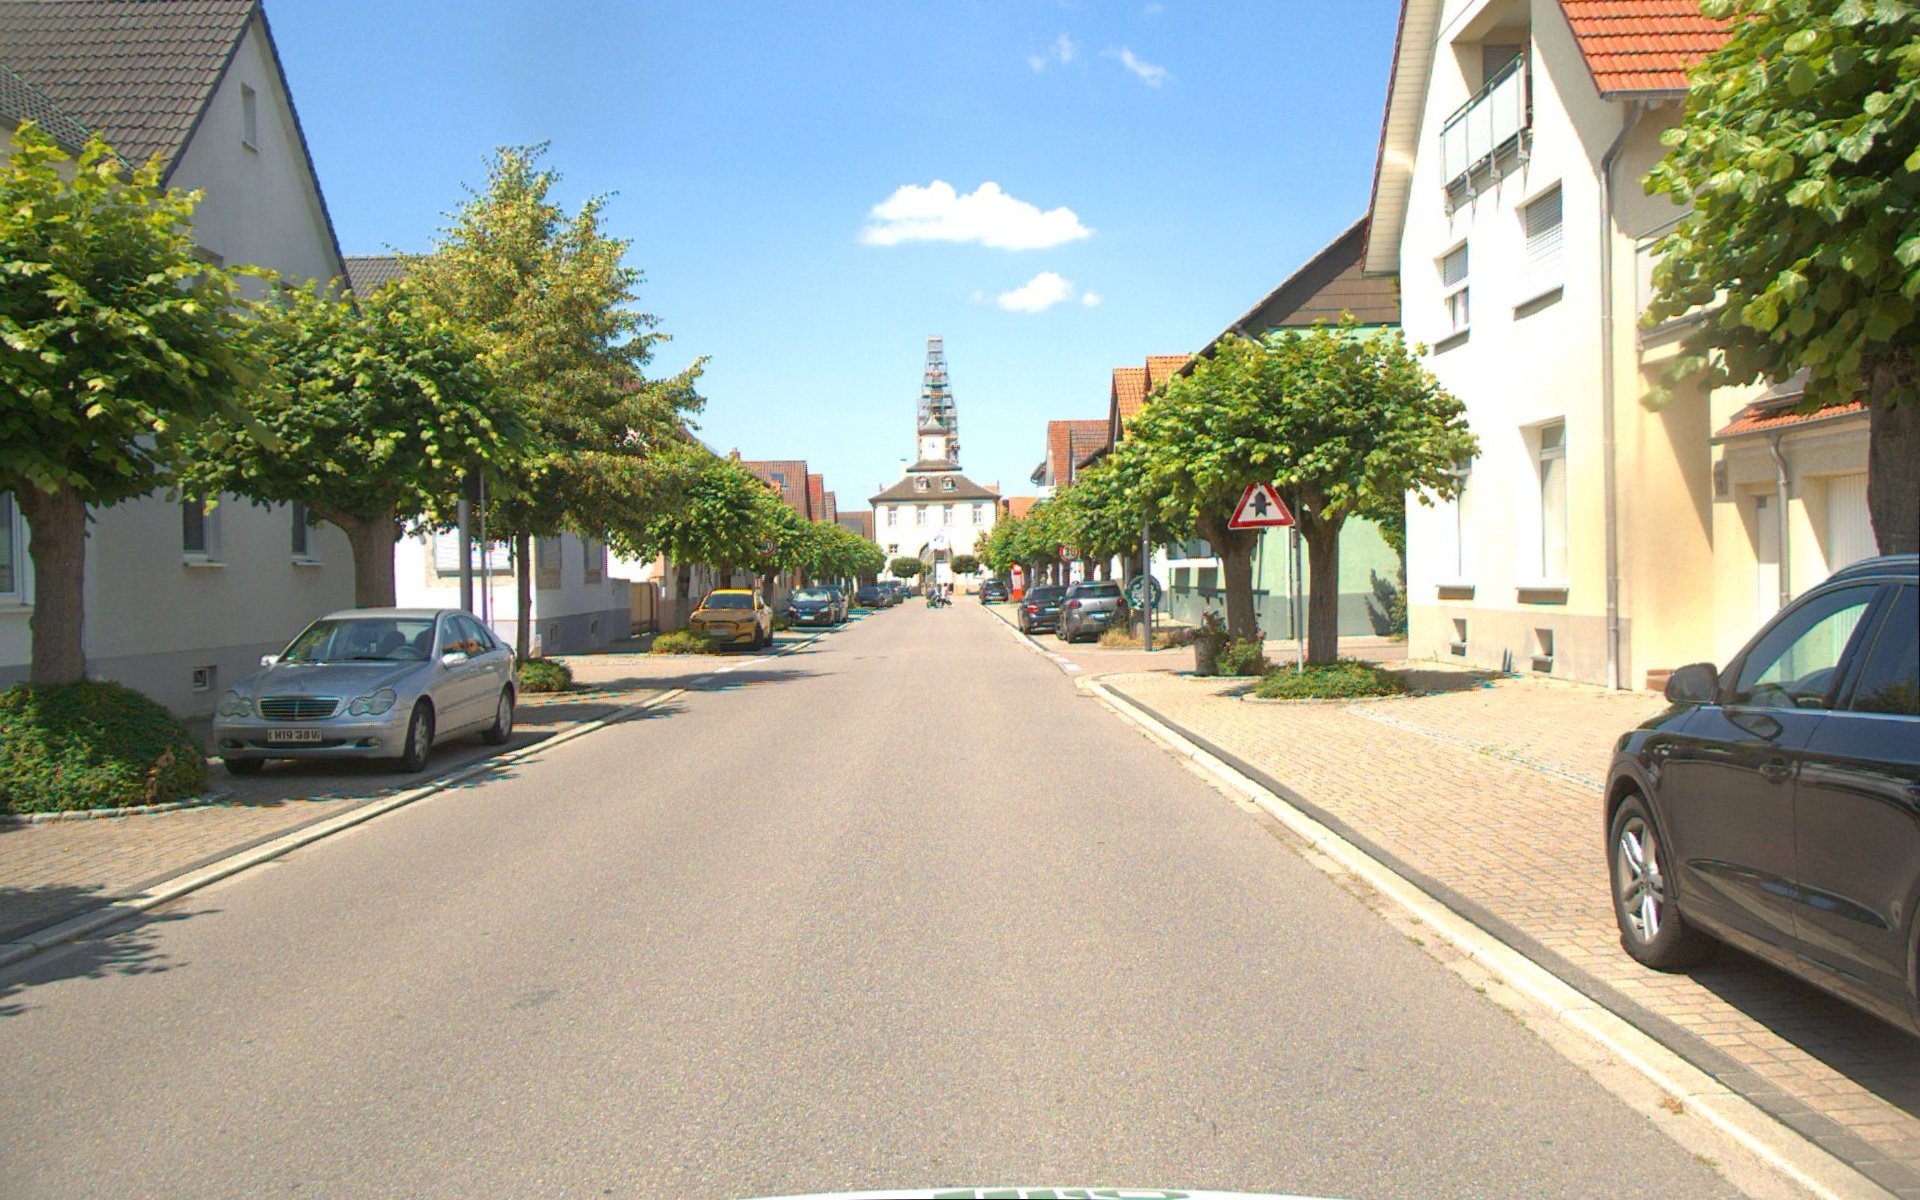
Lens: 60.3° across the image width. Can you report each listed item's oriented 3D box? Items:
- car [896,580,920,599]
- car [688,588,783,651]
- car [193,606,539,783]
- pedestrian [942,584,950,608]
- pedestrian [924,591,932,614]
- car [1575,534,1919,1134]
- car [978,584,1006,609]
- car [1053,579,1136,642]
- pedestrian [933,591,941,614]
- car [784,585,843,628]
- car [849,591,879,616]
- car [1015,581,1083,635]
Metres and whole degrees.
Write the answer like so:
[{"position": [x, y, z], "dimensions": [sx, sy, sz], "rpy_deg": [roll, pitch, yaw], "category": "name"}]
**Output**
[{"position": [-4.777, -0.940, 152.227], "dimensions": [1.954, 1.639, 4.501], "rpy_deg": [0, 0, -5], "category": "car"}, {"position": [-6.120, 0.493, 45.638], "dimensions": [1.952, 1.639, 4.689], "rpy_deg": [0, 0, 0], "category": "car"}, {"position": [-5.491, 0.791, 15.948], "dimensions": [1.803, 1.420, 4.405], "rpy_deg": [-1, 0, -1], "category": "car"}, {"position": [-0.877, -0.245, 101.342], "dimensions": [0.352, 1.427, 0.319], "rpy_deg": [-1, 0, 37], "category": "pedestrian"}, {"position": [-1.983, 0.138, 102.058], "dimensions": [0.352, 1.427, 0.319], "rpy_deg": [-1, 0, 37], "category": "pedestrian"}, {"position": [3.486, 0.581, 5.119], "dimensions": [1.786, 1.613, 4.059], "rpy_deg": [-3, 1, 3], "category": "car"}, {"position": [2.227, -0.246, 116.103], "dimensions": [1.800, 1.582, 4.313], "rpy_deg": [-3, 0, 0], "category": "car"}, {"position": [3.642, 0.265, 45.394], "dimensions": [1.800, 1.636, 3.999], "rpy_deg": [-1, 0, -2], "category": "car"}, {"position": [-1.414, 0.144, 102.341], "dimensions": [0.352, 1.427, 0.319], "rpy_deg": [-1, 0, 37], "category": "pedestrian"}, {"position": [-5.888, 0.232, 66.913], "dimensions": [1.952, 1.639, 4.689], "rpy_deg": [0, 1, 0], "category": "car"}, {"position": [-6.390, 0.239, 110.100], "dimensions": [1.721, 1.582, 4.020], "rpy_deg": [-1, 0, 0], "category": "car"}, {"position": [2.813, 0.229, 52.976], "dimensions": [1.800, 1.582, 4.313], "rpy_deg": [-3, 0, -1], "category": "car"}]
